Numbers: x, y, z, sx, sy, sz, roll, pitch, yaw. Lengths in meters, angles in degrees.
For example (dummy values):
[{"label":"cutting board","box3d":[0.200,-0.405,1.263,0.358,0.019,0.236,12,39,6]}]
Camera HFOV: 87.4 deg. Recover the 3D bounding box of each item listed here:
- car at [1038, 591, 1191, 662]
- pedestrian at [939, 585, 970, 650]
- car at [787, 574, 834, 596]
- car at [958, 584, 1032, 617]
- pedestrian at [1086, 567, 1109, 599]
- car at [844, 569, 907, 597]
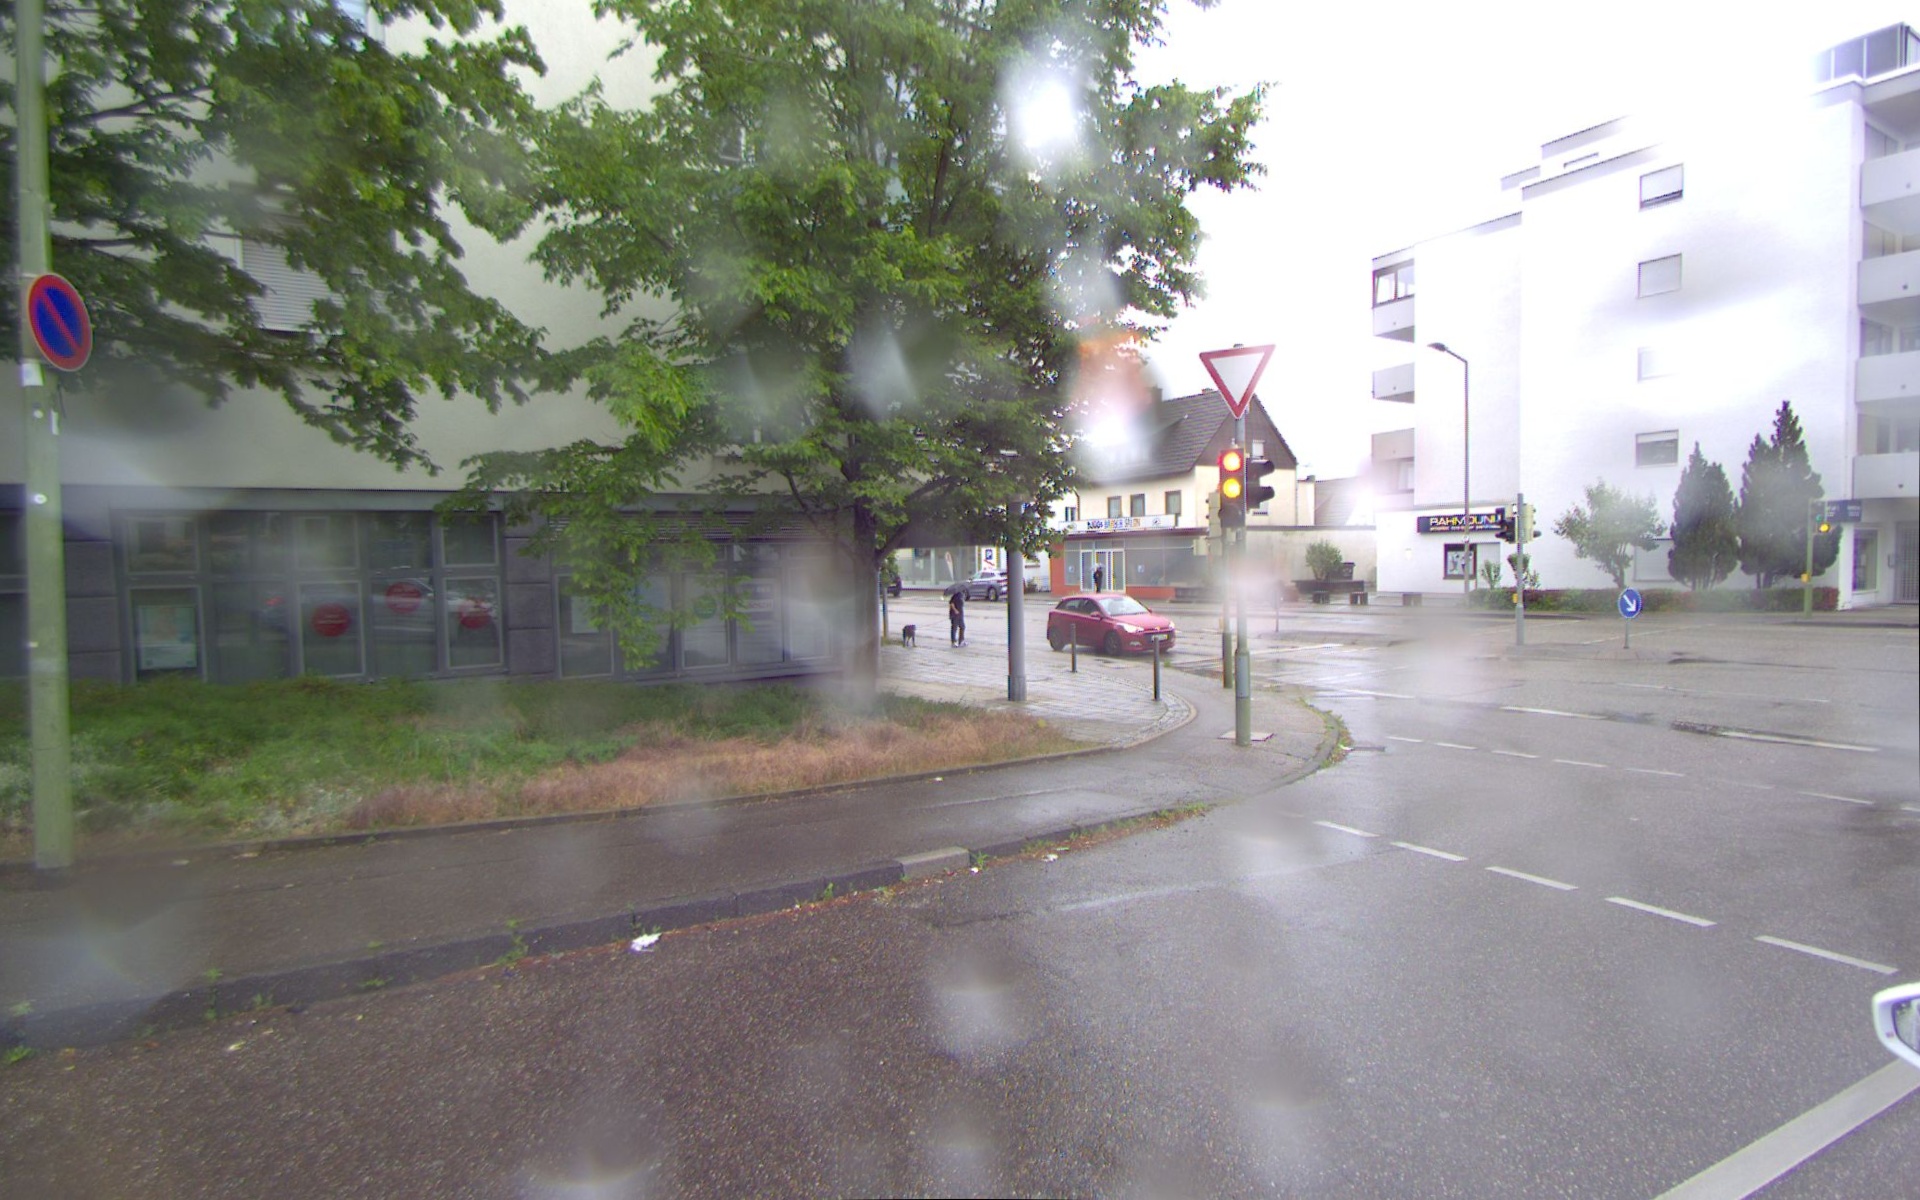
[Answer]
[{"label":"car","box3d":[3.903,0.610,26.041,1.759,1.527,4.073,-6,3,-28]},{"label":"pedestrian","box3d":[-0.167,0.467,27.451,0.657,1.725,0.945,-1,2,-11]},{"label":"car","box3d":[-11.191,-1.129,75.022,1.803,1.468,4.162,-5,4,-35]},{"label":"car","box3d":[1.924,-0.011,56.352,1.858,1.665,4.754,-6,3,-30]},{"label":"pedestrian","box3d":[6.947,-0.852,50.811,0.746,1.589,0.985,-1,1,-30]},{"label":"car","box3d":[-5.669,-1.122,66.980,2.020,1.718,4.917,-6,4,-33]}]
